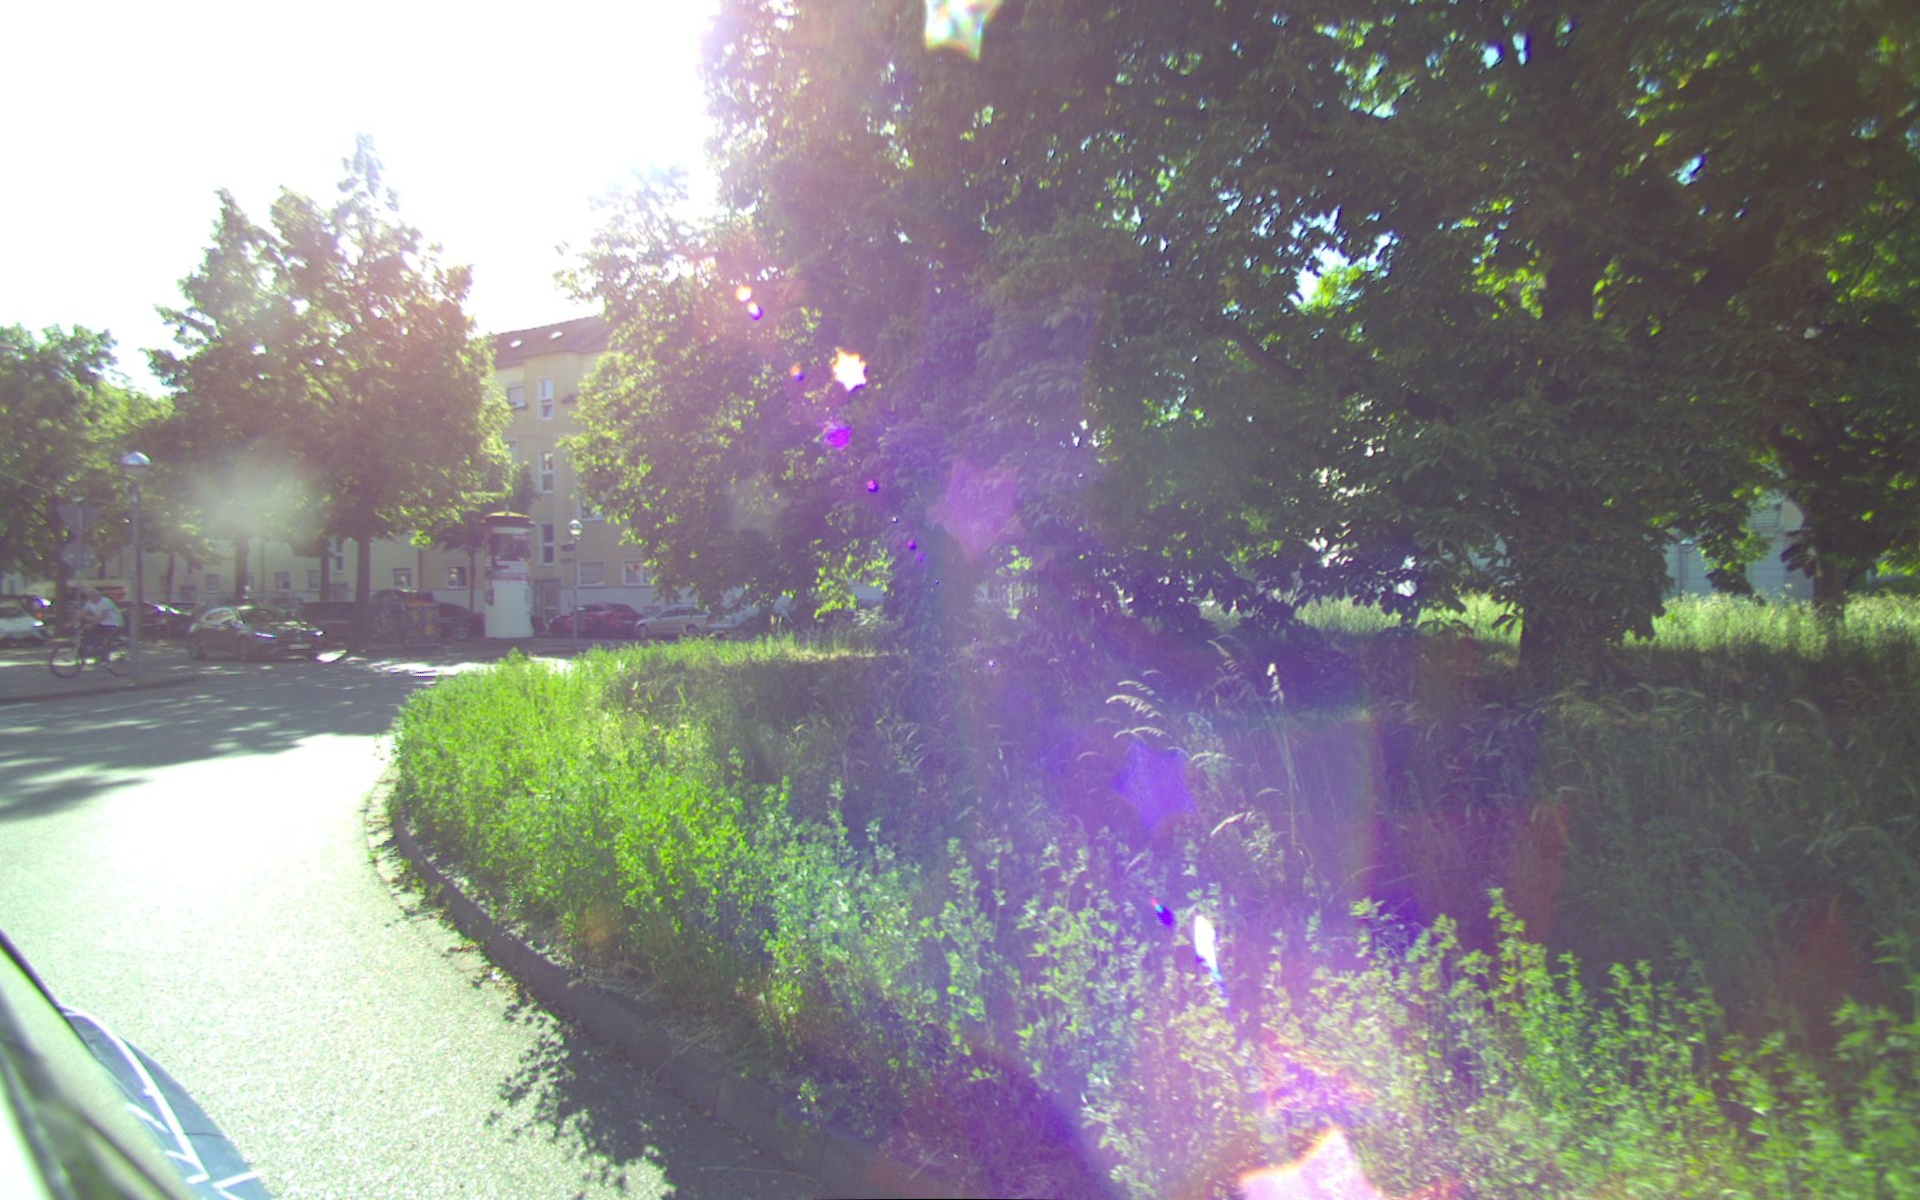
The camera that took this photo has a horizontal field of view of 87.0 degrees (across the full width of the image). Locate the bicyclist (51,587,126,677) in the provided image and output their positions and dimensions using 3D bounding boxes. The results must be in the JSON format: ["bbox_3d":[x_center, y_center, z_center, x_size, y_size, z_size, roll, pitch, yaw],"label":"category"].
[{"bbox_3d":[-16.850,0.605,19.586,0.755,1.709,0.811,0,0,6],"label":"bicyclist"}]

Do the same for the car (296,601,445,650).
[{"bbox_3d":[-18.880,0.795,32.594,3.930,1.484,1.765,0,-1,-22],"label":"car"}]

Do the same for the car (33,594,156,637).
[{"bbox_3d":[-39.577,0.695,46.398,3.930,1.913,1.829,0,-1,-24],"label":"car"}]

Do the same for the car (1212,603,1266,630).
[{"bbox_3d":[15.505,0.886,56.407,1.774,1.423,4.001,0,0,-2],"label":"car"}]

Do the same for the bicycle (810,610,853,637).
[{"bbox_3d":[-5.457,0.988,43.007,1.776,1.116,0.499,0,-1,4],"label":"bicycle"}]

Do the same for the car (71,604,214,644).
[{"bbox_3d":[-31.179,0.876,38.736,3.930,1.452,1.829,0,-1,-24],"label":"car"}]

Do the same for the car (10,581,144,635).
[{"bbox_3d":[-42.450,0.367,48.789,4.515,2.509,1.993,0,-1,-28],"label":"car"}]

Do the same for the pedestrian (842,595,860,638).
[{"bbox_3d":[-4.470,0.682,41.548,0.600,1.705,0.554,-2,3,-1],"label":"pedestrian"}]

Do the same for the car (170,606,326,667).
[{"bbox_3d":[-18.751,0.928,26.629,4.192,1.446,1.780,-1,0,30],"label":"car"}]

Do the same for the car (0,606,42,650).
[{"bbox_3d":[-33.838,0.970,35.103,4.192,1.446,1.780,-1,0,30],"label":"car"}]

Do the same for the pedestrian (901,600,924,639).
[{"bbox_3d":[-1.956,0.782,41.627,0.685,1.535,0.652,-3,3,-25],"label":"pedestrian"}]

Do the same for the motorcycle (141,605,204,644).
[{"bbox_3d":[-28.482,0.867,36.638,0.720,1.358,1.794,-1,0,10],"label":"motorcycle"}]

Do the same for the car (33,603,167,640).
[{"bbox_3d":[-36.103,0.885,42.593,3.930,1.464,1.829,0,-1,-24],"label":"car"}]

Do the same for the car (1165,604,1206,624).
[{"bbox_3d":[15.061,0.908,67.757,1.773,1.265,3.721,0,0,-3],"label":"car"}]

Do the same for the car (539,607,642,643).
[{"bbox_3d":[-15.803,1.054,43.267,4.367,1.450,1.719,-1,-1,28],"label":"car"}]

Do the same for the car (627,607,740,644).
[{"bbox_3d":[-11.182,1.008,40.803,4.469,1.422,1.716,-1,-1,28],"label":"car"}]

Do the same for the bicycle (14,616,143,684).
[{"bbox_3d":[-16.876,0.931,19.450,0.755,1.207,1.867,0,0,5],"label":"bicycle"}]

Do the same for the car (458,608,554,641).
[{"bbox_3d":[-20.716,1.101,46.100,4.367,1.450,1.719,-1,-1,28],"label":"car"}]

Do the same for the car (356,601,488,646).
[{"bbox_3d":[-18.676,0.794,35.340,3.930,1.484,1.765,0,-1,-23],"label":"car"}]

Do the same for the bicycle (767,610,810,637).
[{"bbox_3d":[-7.313,1.001,43.112,1.785,1.116,0.497,-1,-1,18],"label":"bicycle"}]
